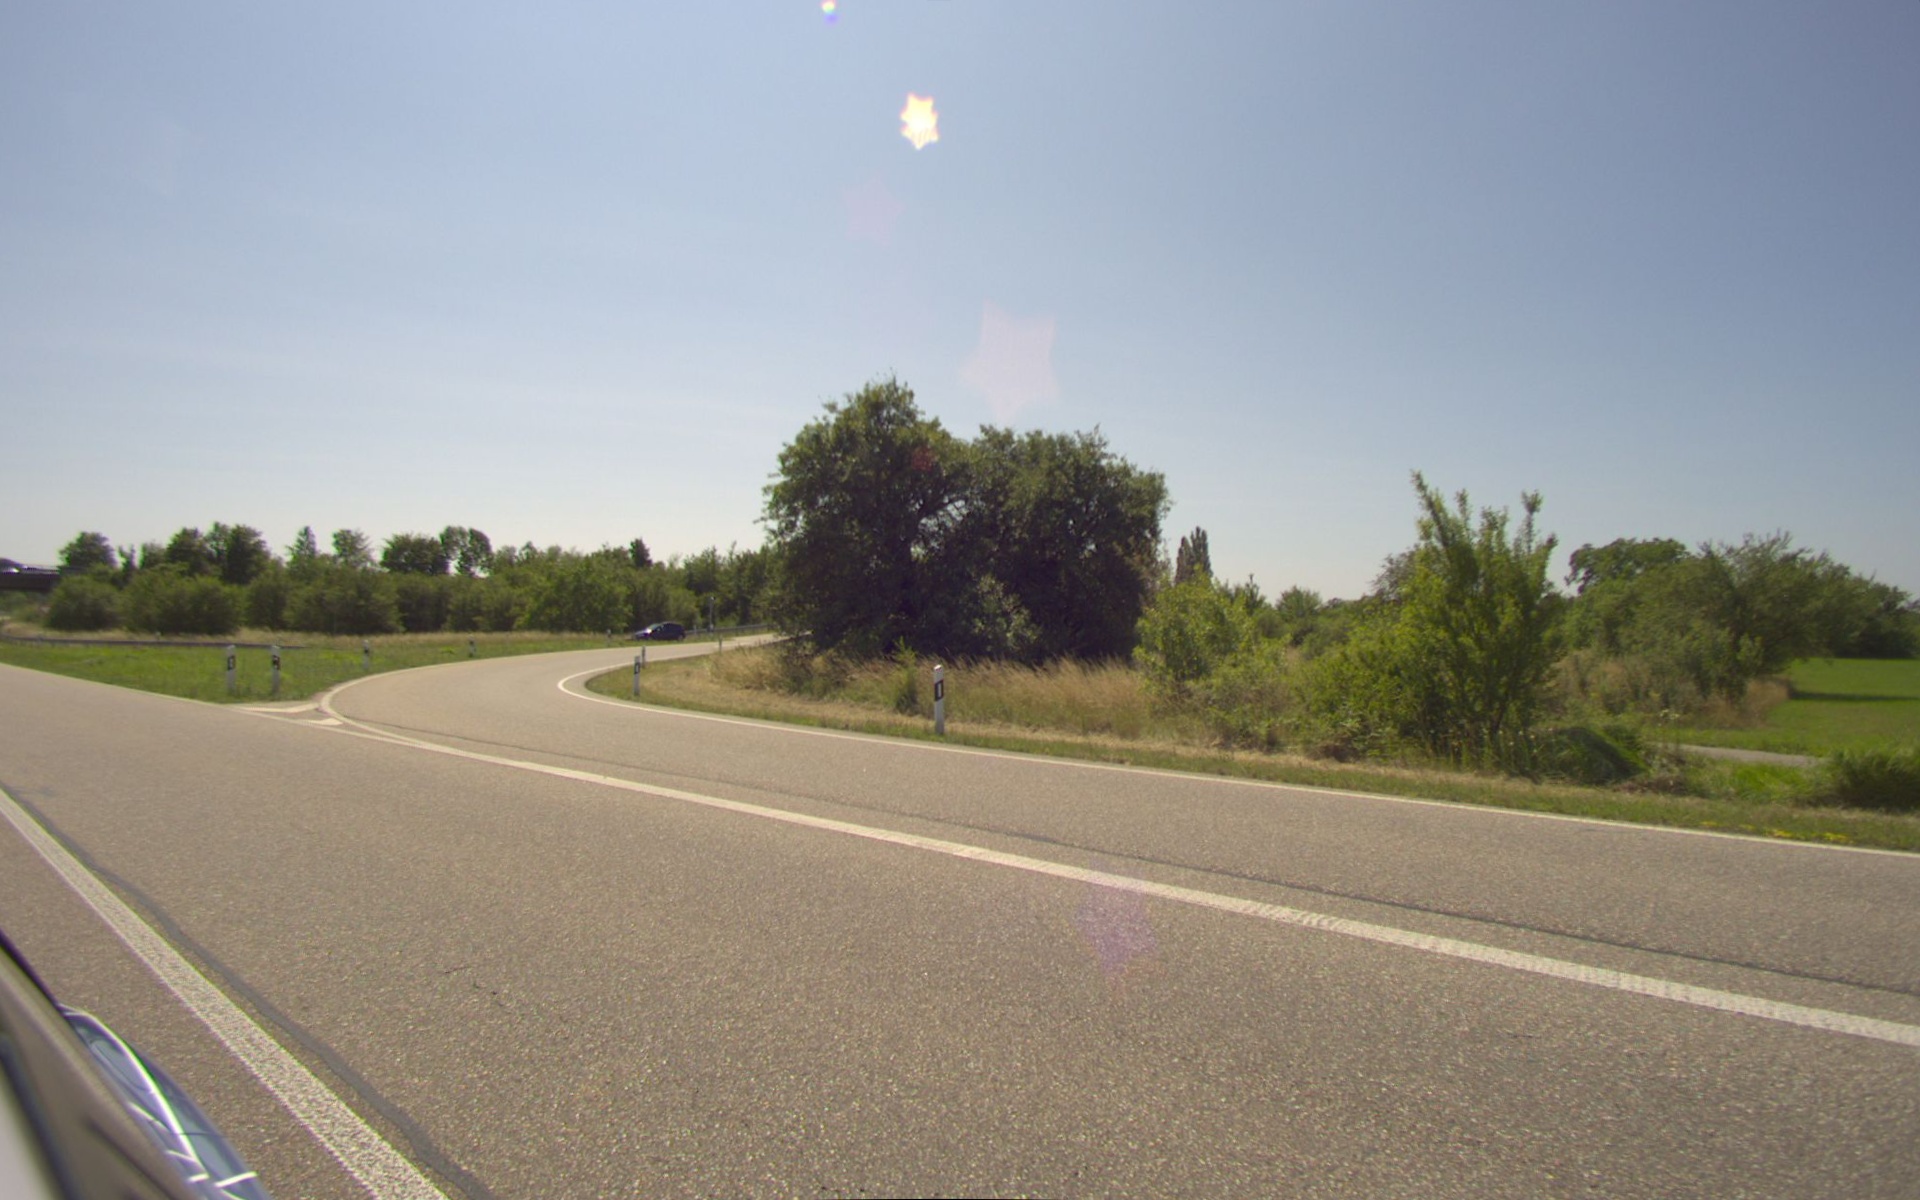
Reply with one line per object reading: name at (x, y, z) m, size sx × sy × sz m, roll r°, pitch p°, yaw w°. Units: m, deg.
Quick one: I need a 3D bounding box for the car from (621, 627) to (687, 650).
car at (-21.913, 2.786, 72.551) m, size 1.889 × 1.569 × 4.089 m, roll -1°, pitch -3°, yaw 44°
